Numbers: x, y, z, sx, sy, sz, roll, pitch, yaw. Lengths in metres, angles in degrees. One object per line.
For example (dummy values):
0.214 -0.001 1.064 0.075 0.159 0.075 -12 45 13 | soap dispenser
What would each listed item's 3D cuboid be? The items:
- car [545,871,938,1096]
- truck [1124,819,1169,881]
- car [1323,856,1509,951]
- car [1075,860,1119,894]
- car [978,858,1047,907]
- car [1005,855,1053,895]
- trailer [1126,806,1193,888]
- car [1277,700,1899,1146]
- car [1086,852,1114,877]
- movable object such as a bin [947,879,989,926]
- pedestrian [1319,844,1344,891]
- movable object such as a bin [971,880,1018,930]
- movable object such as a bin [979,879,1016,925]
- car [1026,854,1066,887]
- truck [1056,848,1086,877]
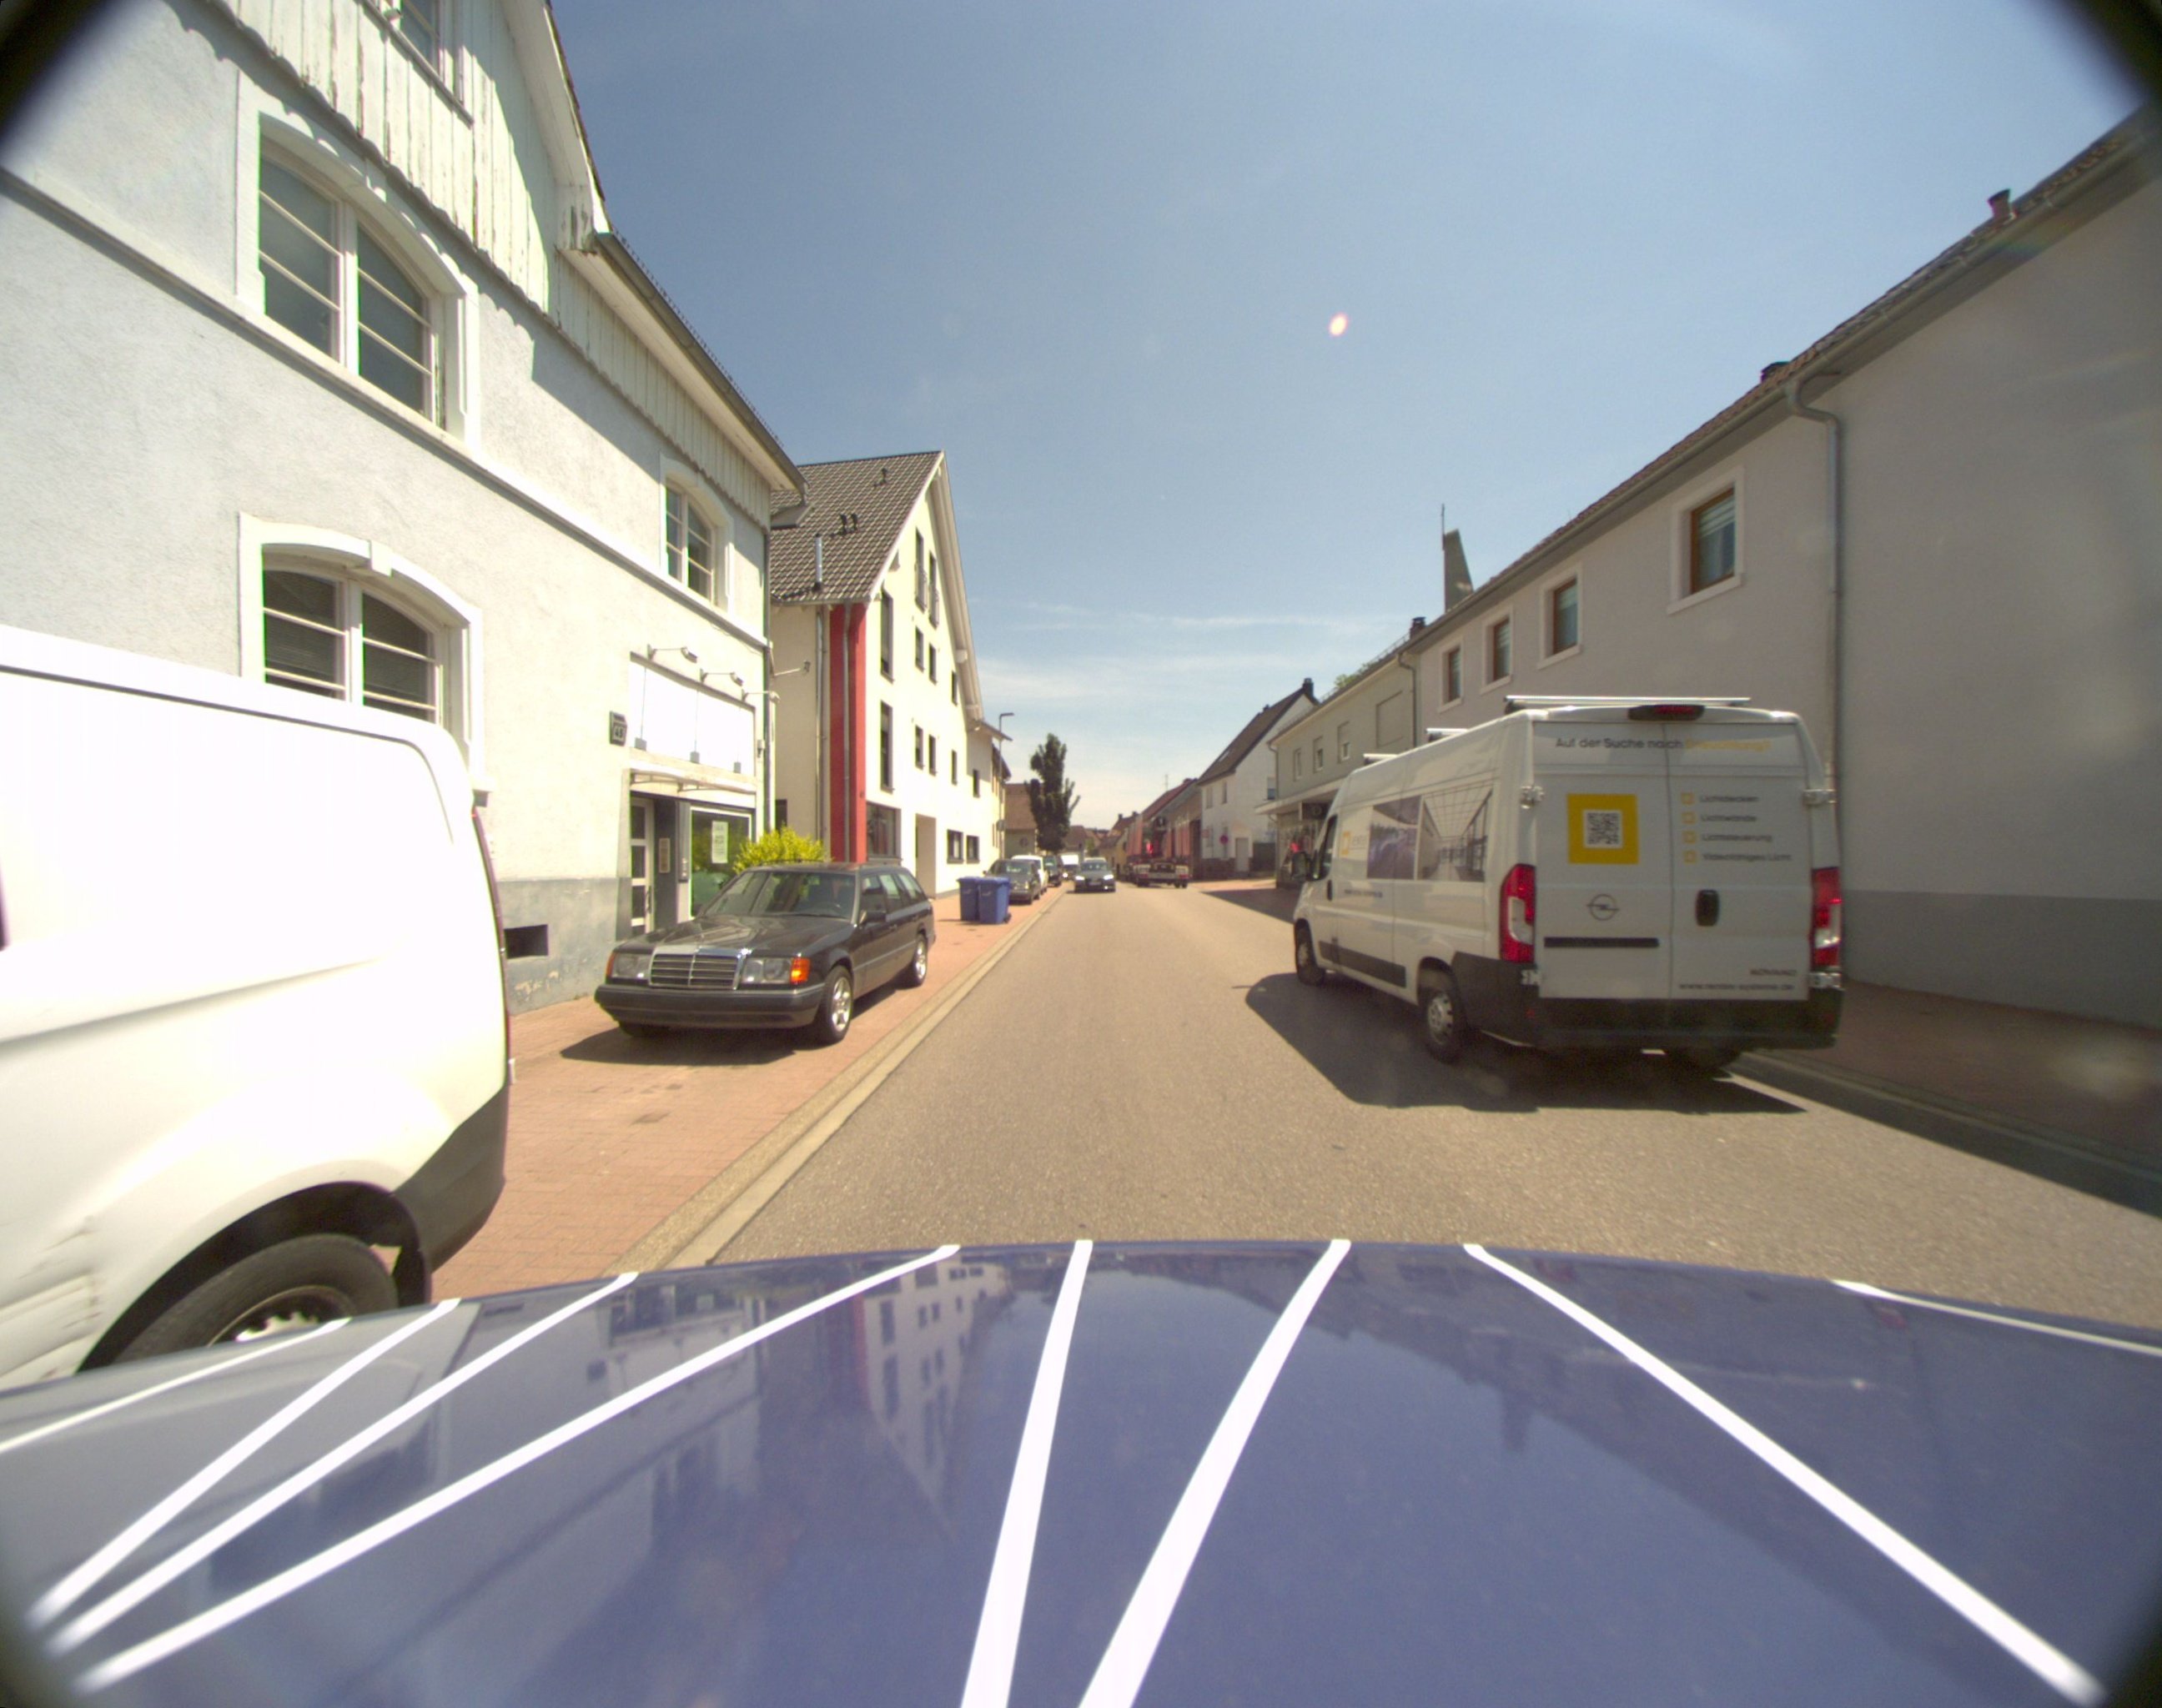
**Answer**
-2.792 0.948 7.566 1.774 1.457 4.578 0 0 1 | car
4.466 -0.281 52.859 2.625 3.962 6.852 1 0 1 | truck
6.512 0.858 15.388 1.812 1.548 4.565 -3 0 2 | car
0.688 0.956 33.026 1.786 1.364 3.607 -1 0 1 | car
-2.230 0.887 25.886 1.704 1.438 4.837 2 0 2 | car
-2.121 0.849 31.766 1.610 1.513 3.545 2 0 1 | car
4.324 -0.363 45.269 2.637 3.956 15.698 1 0 1 | trailer
3.595 0.402 7.067 2.130 2.527 5.461 1 0 0 | car
1.468 0.834 61.314 2.079 1.949 5.519 -1 0 0 | car
-2.697 1.142 18.175 0.655 1.054 0.836 1 0 18 | movable object such as a bin
9.069 0.497 27.558 0.626 1.675 0.771 -1 1 1 | pedestrian
-1.976 1.145 17.479 0.723 1.067 0.973 1 0 18 | movable object such as a bin
-1.994 1.133 18.187 0.656 1.029 0.685 1 1 17 | movable object such as a bin
-1.797 0.832 40.216 1.807 1.604 4.549 1 -1 1 | car
-1.337 1.018 94.602 2.869 3.491 8.315 1 0 -6 | truck
